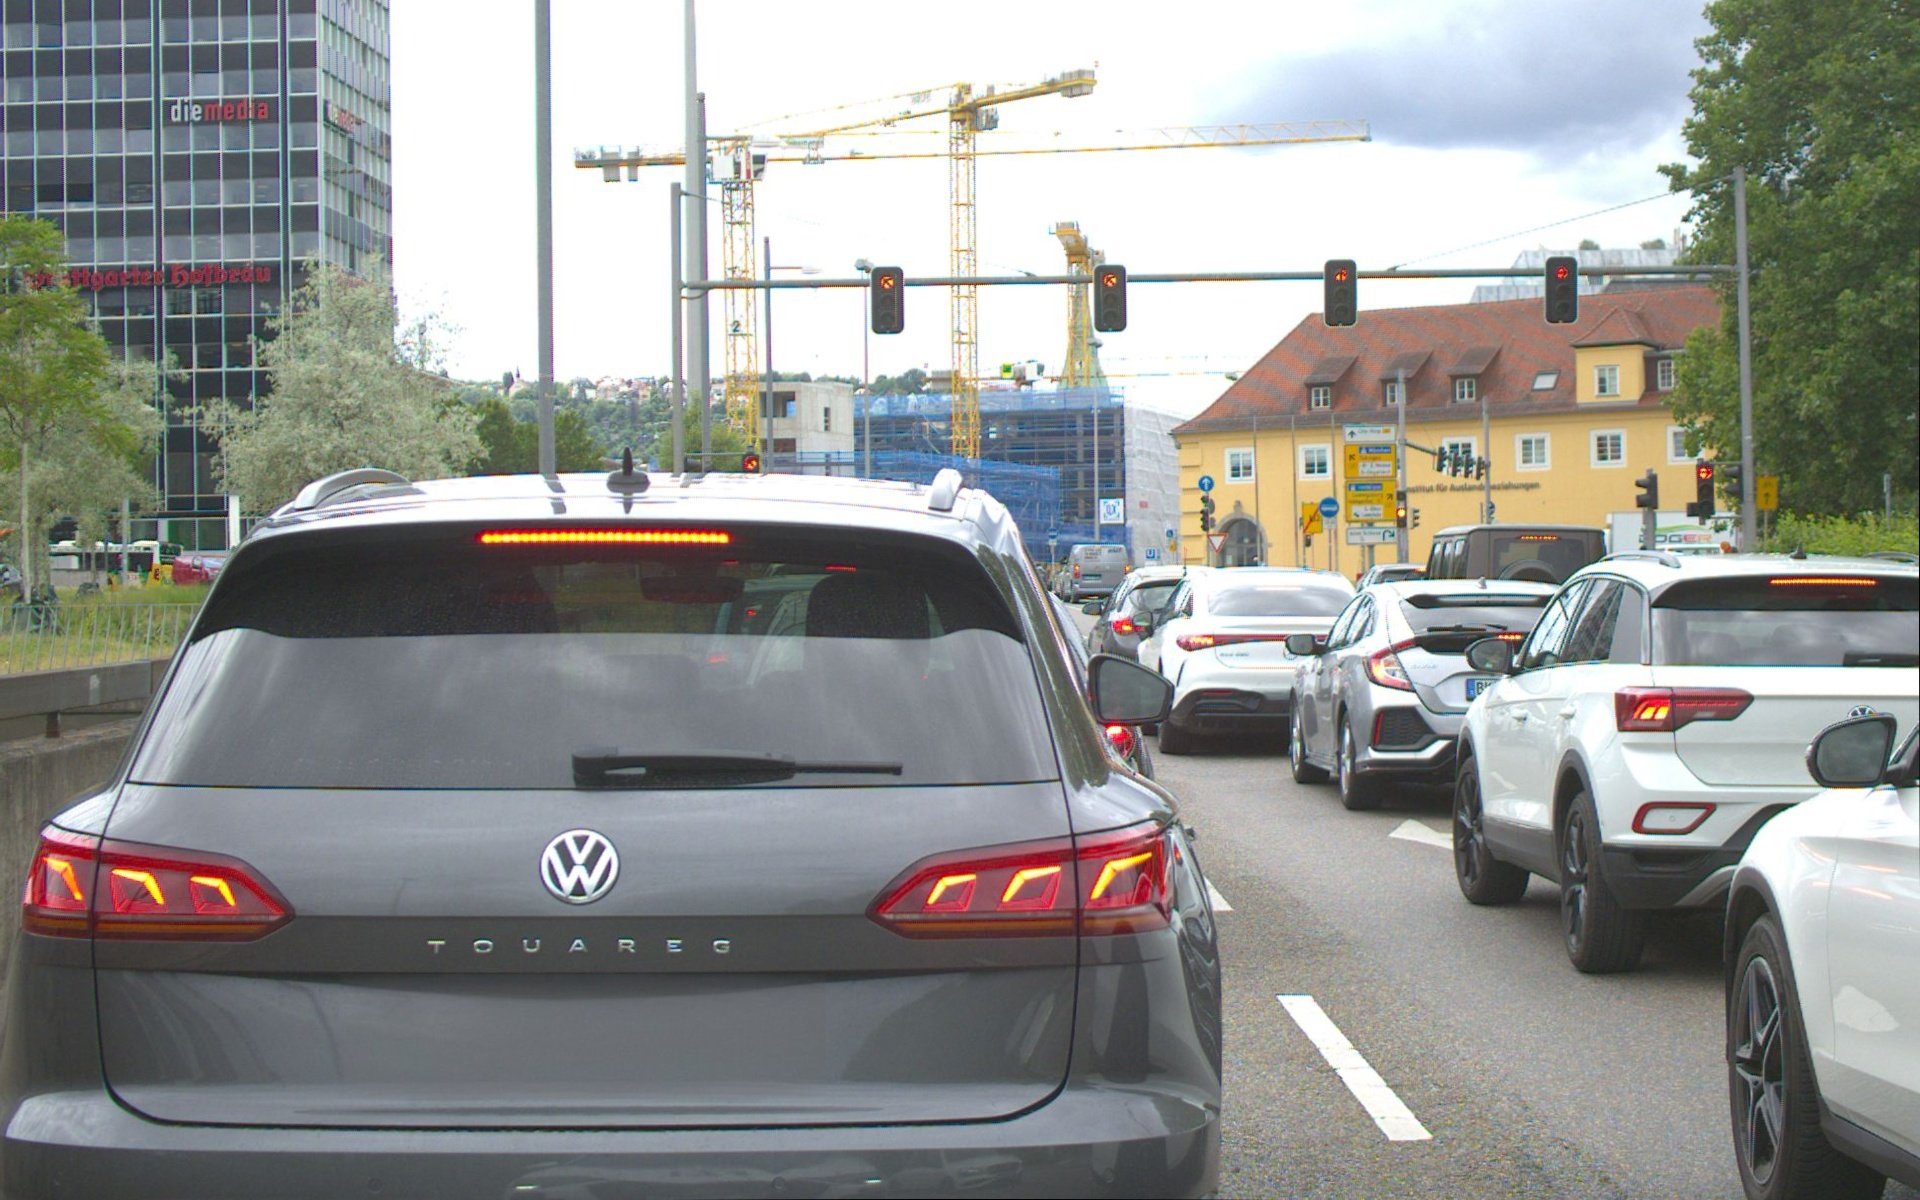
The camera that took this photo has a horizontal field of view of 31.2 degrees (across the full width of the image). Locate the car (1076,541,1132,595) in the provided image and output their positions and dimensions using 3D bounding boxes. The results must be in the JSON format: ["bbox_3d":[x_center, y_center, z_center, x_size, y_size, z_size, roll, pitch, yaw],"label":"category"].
[{"bbox_3d":[4.661,-1.032,111.452,1.619,1.622,4.000,1,-1,0],"label":"car"}]

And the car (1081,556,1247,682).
[{"bbox_3d":[2.558,0.230,44.038,1.926,1.524,4.047,0,0,1],"label":"car"}]

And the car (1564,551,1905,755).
[{"bbox_3d":[6.614,0.396,29.837,1.993,1.634,4.305,0,1,0],"label":"car"}]

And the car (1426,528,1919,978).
[{"bbox_3d":[3.158,0.525,14.099,1.926,1.545,4.489,0,0,1],"label":"car"}]

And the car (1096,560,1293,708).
[{"bbox_3d":[2.515,0.351,37.751,1.926,1.524,4.047,0,0,1],"label":"car"}]

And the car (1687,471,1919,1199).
[{"bbox_3d":[2.714,0.586,6.141,1.926,1.648,4.490,0,1,1],"label":"car"}]

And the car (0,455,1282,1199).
[{"bbox_3d":[-0.569,0.605,6.668,1.951,1.646,4.000,0,1,-1],"label":"car"}]

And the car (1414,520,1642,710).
[{"bbox_3d":[6.396,0.158,39.118,1.910,2.007,4.012,1,0,0],"label":"car"}]

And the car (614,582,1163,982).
[{"bbox_3d":[-0.286,0.650,14.406,1.951,1.379,3.931,1,1,-1],"label":"car"}]

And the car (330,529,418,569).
[{"bbox_3d":[-31.266,-2.716,183.424,4.454,2.007,1.996,1,-1,34],"label":"car"}]

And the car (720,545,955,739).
[{"bbox_3d":[-1.066,0.332,31.033,1.951,1.594,3.931,1,1,-1],"label":"car"}]

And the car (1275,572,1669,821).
[{"bbox_3d":[3.177,0.556,22.205,1.926,1.427,4.489,0,0,1],"label":"car"}]

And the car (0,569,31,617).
[{"bbox_3d":[-31.182,-0.241,110.617,1.732,1.489,3.595,1,-1,-2],"label":"car"}]

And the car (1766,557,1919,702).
[{"bbox_3d":[10.026,0.325,37.093,1.932,1.455,4.526,1,0,5],"label":"car"}]

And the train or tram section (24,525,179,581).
[{"bbox_3d":[-48.196,-2.652,193.021,8.935,2.999,2.592,1,-1,28],"label":"train or tram section"}]

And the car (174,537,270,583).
[{"bbox_3d":[-34.116,-1.872,158.850,4.688,2.006,1.995,2,3,43],"label":"car"}]

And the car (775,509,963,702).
[{"bbox_3d":[-0.995,0.037,38.566,1.951,2.011,3.931,1,1,-1],"label":"car"}]

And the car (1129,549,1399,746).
[{"bbox_3d":[2.469,0.365,28.930,1.926,1.524,4.489,0,0,1],"label":"car"}]

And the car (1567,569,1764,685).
[{"bbox_3d":[9.345,0.345,45.788,1.757,1.442,3.634,1,0,-2],"label":"car"}]

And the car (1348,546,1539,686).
[{"bbox_3d":[6.232,0.191,44.698,1.910,1.691,4.012,1,0,0],"label":"car"}]
